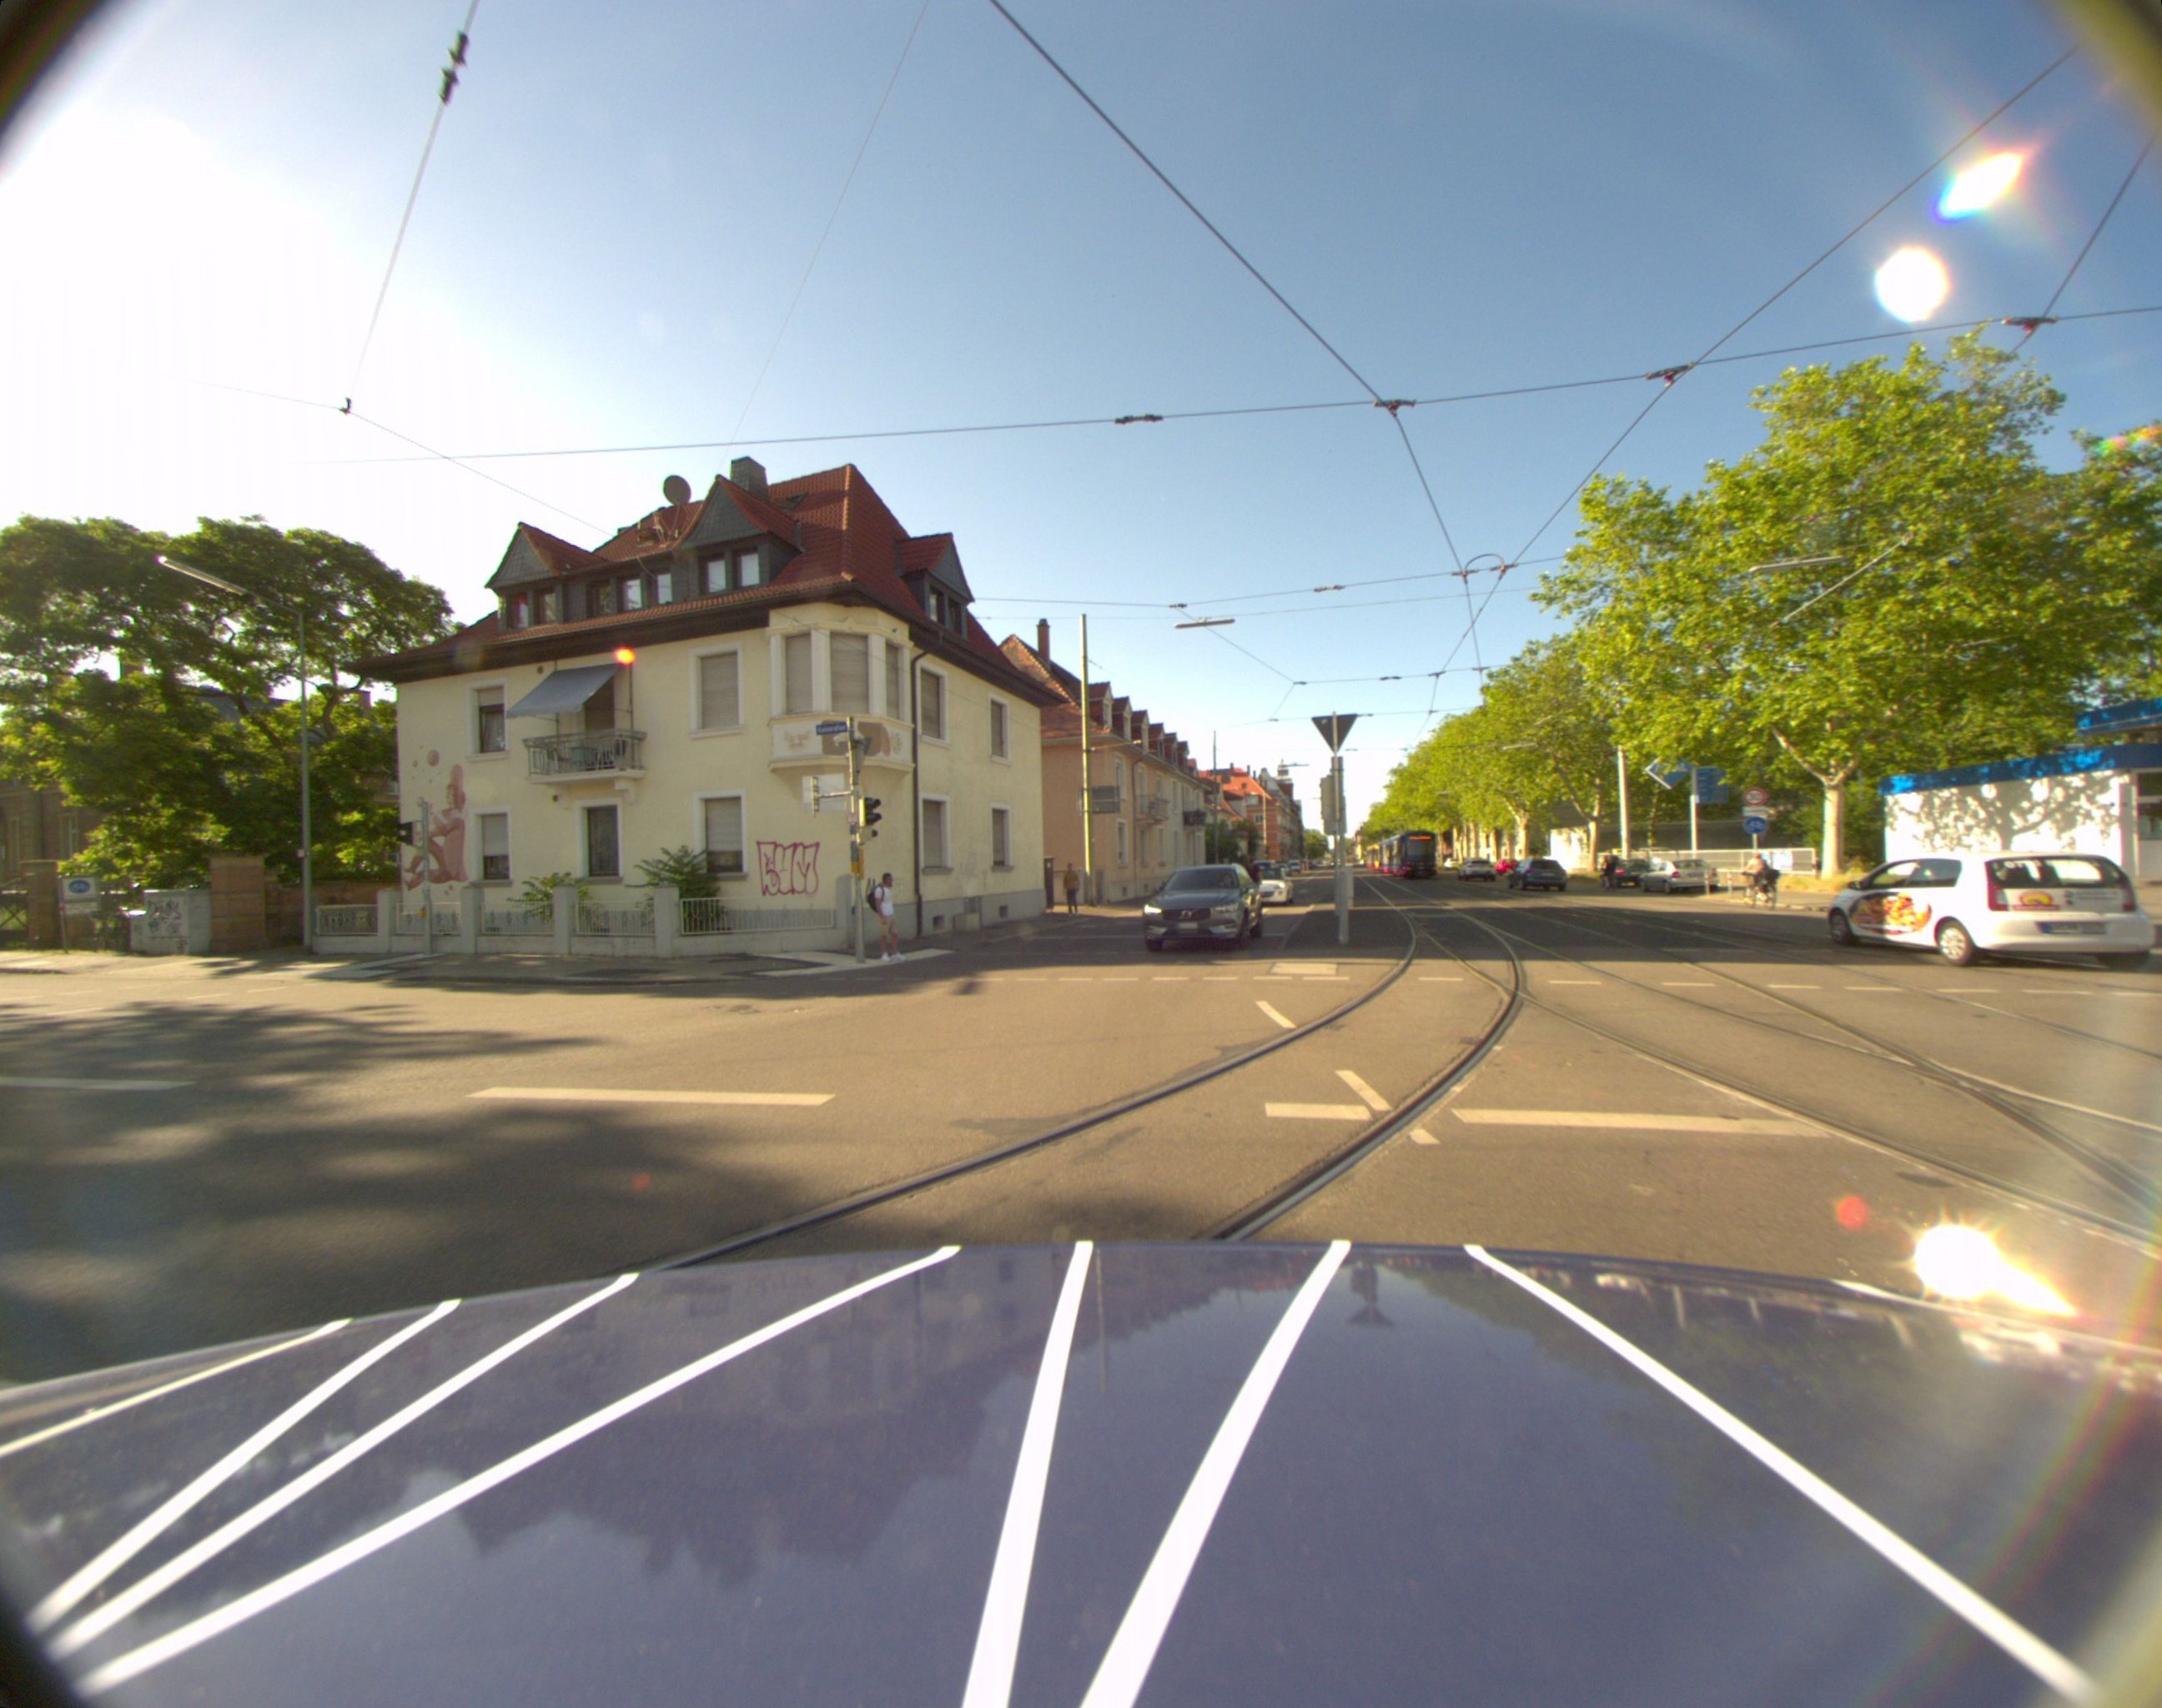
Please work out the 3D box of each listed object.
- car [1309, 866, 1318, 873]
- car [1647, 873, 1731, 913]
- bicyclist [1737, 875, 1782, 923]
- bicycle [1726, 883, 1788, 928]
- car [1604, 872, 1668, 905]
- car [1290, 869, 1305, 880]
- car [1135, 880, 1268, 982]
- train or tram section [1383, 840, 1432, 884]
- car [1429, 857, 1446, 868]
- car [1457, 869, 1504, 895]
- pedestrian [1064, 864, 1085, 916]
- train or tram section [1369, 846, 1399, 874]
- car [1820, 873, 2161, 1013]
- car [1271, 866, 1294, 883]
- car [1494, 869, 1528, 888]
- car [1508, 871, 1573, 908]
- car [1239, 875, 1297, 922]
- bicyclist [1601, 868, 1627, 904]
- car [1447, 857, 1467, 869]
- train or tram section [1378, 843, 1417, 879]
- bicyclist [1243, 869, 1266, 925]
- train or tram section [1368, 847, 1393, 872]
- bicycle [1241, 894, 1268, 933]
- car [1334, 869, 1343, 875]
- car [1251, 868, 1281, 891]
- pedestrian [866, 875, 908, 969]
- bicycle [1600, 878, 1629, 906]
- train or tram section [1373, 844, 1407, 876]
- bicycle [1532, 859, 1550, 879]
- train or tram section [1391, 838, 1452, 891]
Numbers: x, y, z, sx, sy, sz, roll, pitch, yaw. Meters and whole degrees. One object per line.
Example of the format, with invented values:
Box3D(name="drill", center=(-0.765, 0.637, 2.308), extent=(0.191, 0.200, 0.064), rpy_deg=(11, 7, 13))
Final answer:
Box3D(name="car", center=(50.036, 3.380, 163.656), extent=(1.879, 1.477, 4.005), rpy_deg=(-1, -1, 17))
Box3D(name="car", center=(25.291, 1.602, 31.740), extent=(1.777, 1.416, 3.544), rpy_deg=(-5, -2, 23))
Box3D(name="bicyclist", center=(19.550, 1.279, 21.911), extent=(0.604, 1.332, 0.899), rpy_deg=(-1, 0, 15))
Box3D(name="bicycle", center=(19.582, 1.471, 22.054), extent=(0.486, 1.159, 1.960), rpy_deg=(-1, 0, 14))
Box3D(name="car", center=(27.534, 1.682, 37.791), extent=(1.777, 1.416, 3.316), rpy_deg=(-5, -2, 23))
Box3D(name="car", center=(29.799, 2.823, 104.473), extent=(1.879, 1.477, 4.005), rpy_deg=(-1, -1, 17))
Box3D(name="car", center=(2.618, 1.431, 15.556), extent=(1.915, 1.621, 4.509), rpy_deg=(-1, -1, 19))
Box3D(name="train or tram section", center=(29.721, 0.706, 69.644), extent=(3.059, 3.591, 12.520), rpy_deg=(-1, -1, 19))
Box3D(name="car", center=(53.206, 1.266, 113.381), extent=(1.879, 1.542, 4.006), rpy_deg=(-1, -1, 20))
Box3D(name="car", center=(26.299, 1.840, 50.183), extent=(1.995, 1.488, 4.353), rpy_deg=(2, 1, 18))
Box3D(name="pedestrian", center=(-0.212, 1.225, 25.886), extent=(0.601, 1.750, 0.487), rpy_deg=(-1, 0, 11))
Box3D(name="train or tram section", center=(41.433, 0.752, 104.191), extent=(3.058, 3.591, 11.967), rpy_deg=(-1, -1, 19))
Box3D(name="car", center=(12.231, 1.060, 10.436), extent=(1.719, 1.488, 3.589), rpy_deg=(-1, 0, 21))
Box3D(name="car", center=(21.884, 2.201, 82.399), extent=(1.930, 1.750, 5.321), rpy_deg=(-1, -1, 20))
Box3D(name="car", center=(36.981, 2.102, 65.447), extent=(1.879, 1.477, 4.006), rpy_deg=(-1, -1, 20))
Box3D(name="car", center=(21.195, 1.597, 35.208), extent=(1.775, 1.488, 4.580), rpy_deg=(-1, -1, 21))
Box3D(name="car", center=(7.514, 1.711, 30.258), extent=(1.915, 1.621, 4.509), rpy_deg=(-1, -1, 17))
Box3D(name="bicyclist", center=(23.594, 1.414, 33.628), extent=(0.697, 1.562, 0.892), rpy_deg=(-1, 0, 19))
Box3D(name="car", center=(47.909, 1.136, 96.880), extent=(1.879, 1.542, 4.006), rpy_deg=(-1, -1, 20))
Box3D(name="train or tram section", center=(33.693, 0.724, 81.284), extent=(3.058, 3.591, 12.132), rpy_deg=(-1, -1, 19))
Box3D(name="bicyclist", center=(5.387, 1.319, 23.564), extent=(0.599, 1.709, 0.663), rpy_deg=(-1, 0, 19))
Box3D(name="train or tram section", center=(45.547, 0.771, 115.910), extent=(3.058, 3.591, 12.908), rpy_deg=(-1, -1, 19))
Box3D(name="bicycle", center=(5.408, 1.827, 23.565), extent=(0.599, 1.050, 1.993), rpy_deg=(-1, 0, 19))
Box3D(name="car", center=(58.618, 4.096, 172.973), extent=(1.879, 1.477, 4.005), rpy_deg=(-1, -1, 17))
Box3D(name="car", center=(15.800, 2.136, 64.685), extent=(1.930, 1.834, 5.321), rpy_deg=(-1, -1, 20))
Box3D(name="pedestrian", center=(-3.726, 1.284, 14.572), extent=(0.675, 1.730, 0.688), rpy_deg=(1, 2, -21))
Box3D(name="bicycle", center=(23.555, 1.675, 33.577), extent=(0.485, 1.159, 2.059), rpy_deg=(-1, 0, 19))
Box3D(name="train or tram section", center=(37.556, 0.720, 92.780), extent=(3.059, 3.591, 12.132), rpy_deg=(-1, -1, 18))
Box3D(name="bicycle", center=(27.836, 0.906, 46.044), extent=(0.485, 1.159, 2.059), rpy_deg=(-1, 0, 19))
Box3D(name="train or tram section", center=(25.770, 0.754, 58.004), extent=(3.058, 3.591, 12.132), rpy_deg=(-1, -1, 19))
